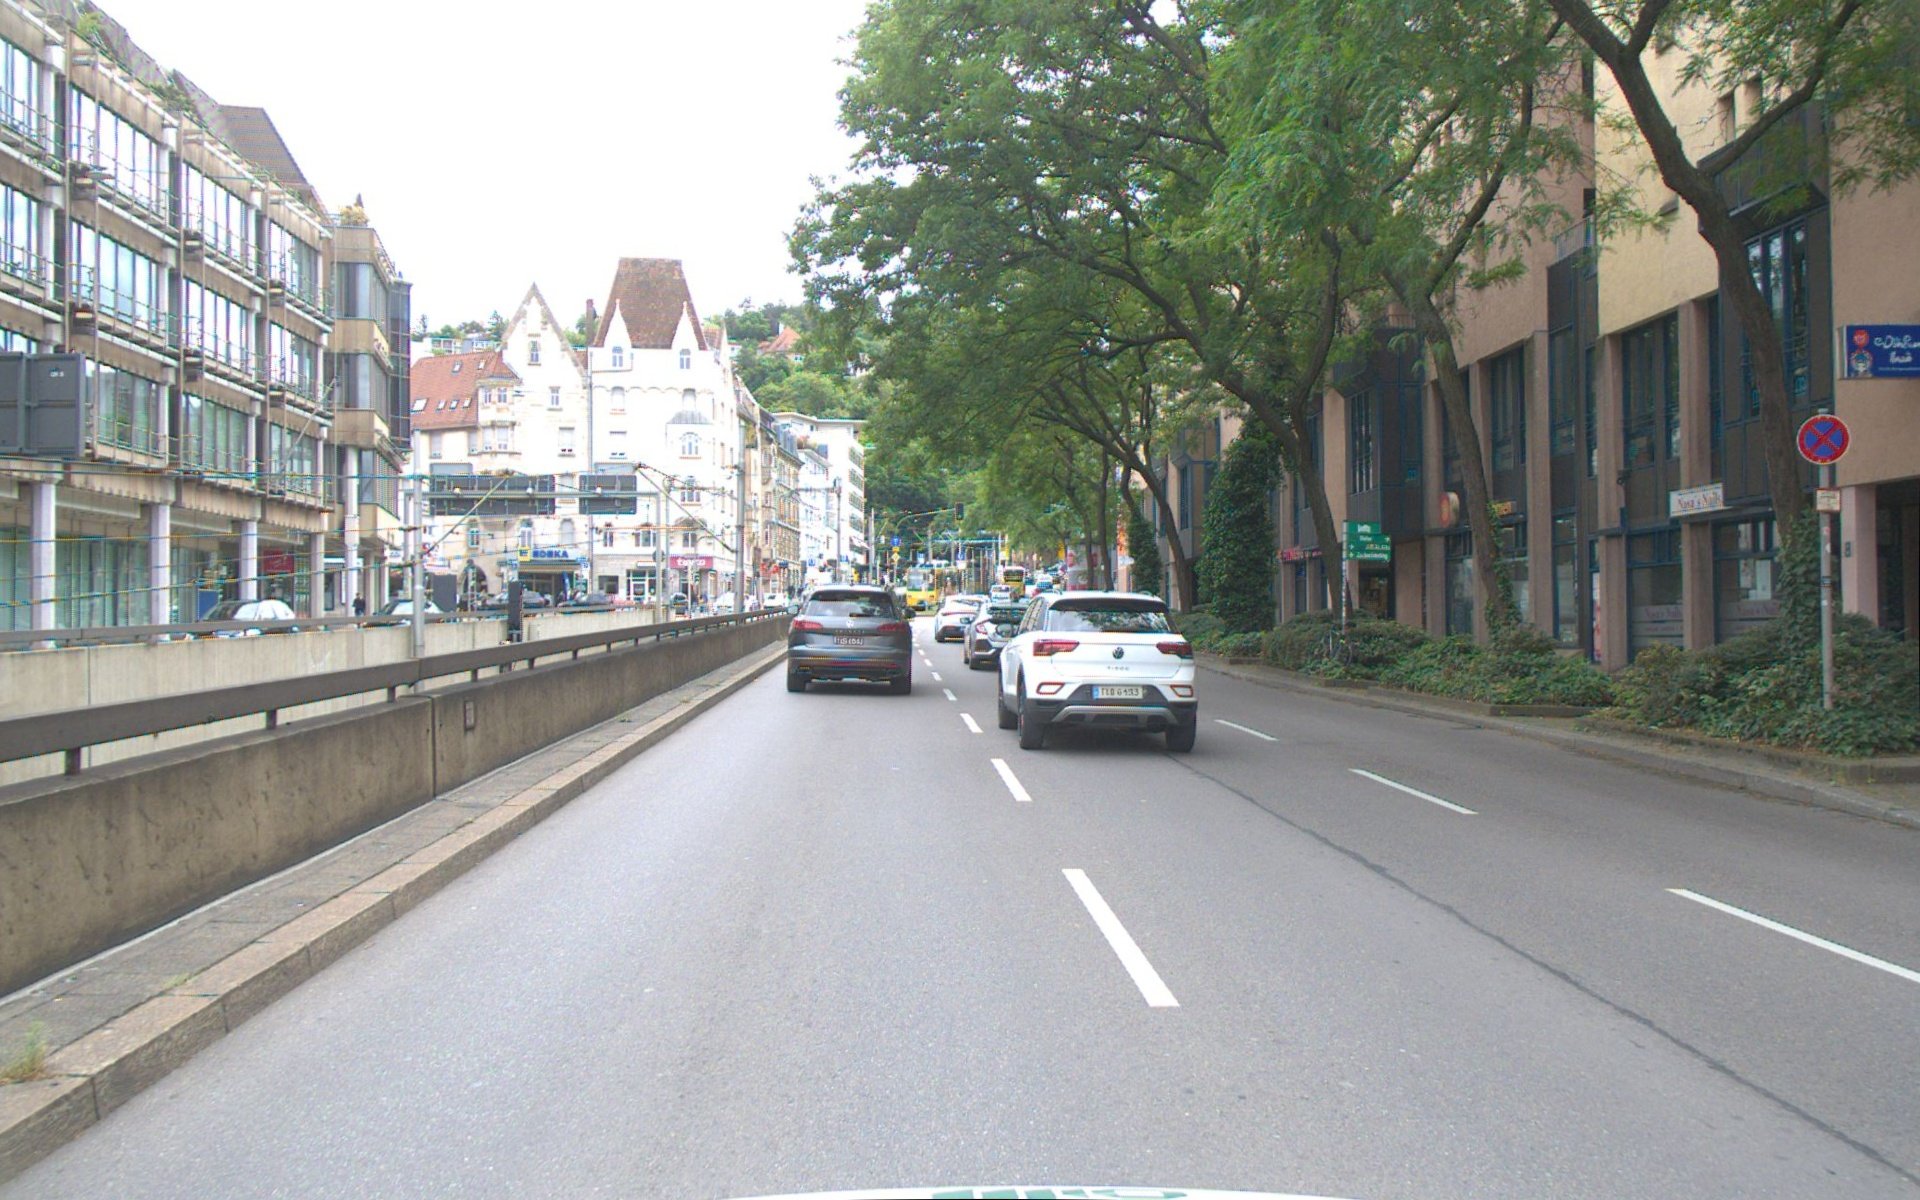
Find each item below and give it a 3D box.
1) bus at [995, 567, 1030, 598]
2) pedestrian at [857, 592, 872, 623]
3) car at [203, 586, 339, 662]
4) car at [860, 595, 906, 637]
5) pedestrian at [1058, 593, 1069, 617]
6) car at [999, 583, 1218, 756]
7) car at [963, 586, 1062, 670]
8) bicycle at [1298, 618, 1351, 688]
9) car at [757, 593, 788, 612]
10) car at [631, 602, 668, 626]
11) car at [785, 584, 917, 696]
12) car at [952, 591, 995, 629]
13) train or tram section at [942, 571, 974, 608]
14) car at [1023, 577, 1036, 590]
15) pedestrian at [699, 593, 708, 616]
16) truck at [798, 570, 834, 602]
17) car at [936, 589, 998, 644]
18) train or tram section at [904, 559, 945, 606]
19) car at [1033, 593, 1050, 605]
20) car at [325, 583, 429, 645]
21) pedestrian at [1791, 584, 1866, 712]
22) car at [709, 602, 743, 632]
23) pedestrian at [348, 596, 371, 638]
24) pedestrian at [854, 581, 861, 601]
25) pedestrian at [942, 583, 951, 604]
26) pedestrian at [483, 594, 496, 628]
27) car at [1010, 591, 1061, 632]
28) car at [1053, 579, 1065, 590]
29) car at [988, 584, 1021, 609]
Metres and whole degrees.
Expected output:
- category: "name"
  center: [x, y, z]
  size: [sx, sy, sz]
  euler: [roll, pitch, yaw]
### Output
- category: "bus"
  center: [5.722, -1.805, 177.820]
  size: [3.301, 3.118, 13.331]
  euler: [1, 0, 4]
- category: "pedestrian"
  center: [-5.504, 0.433, 95.211]
  size: [0.748, 1.751, 0.638]
  euler: [0, 0, 4]
- category: "car"
  center: [-18.679, 0.662, 45.063]
  size: [1.953, 1.948, 4.376]
  euler: [1, -1, -2]
- category: "car"
  center: [-3.236, 0.670, 69.891]
  size: [1.847, 1.713, 4.159]
  euler: [1, 0, -2]
- category: "pedestrian"
  center: [8.043, 0.360, 128.598]
  size: [0.679, 1.808, 0.689]
  euler: [-4, 0, 0]
- category: "car"
  center: [1.455, 0.666, 17.718]
  size: [1.800, 1.611, 4.155]
  euler: [1, 0, -2]
- category: "car"
  center: [1.098, 0.595, 36.342]
  size: [1.847, 1.713, 4.159]
  euler: [1, 0, -2]
- category: "bicycle"
  center: [6.599, 0.939, 29.982]
  size: [0.355, 1.222, 1.566]
  euler: [0, 0, -10]
- category: "car"
  center: [-16.180, 0.248, 143.204]
  size: [1.712, 1.588, 4.517]
  euler: [1, 0, 6]
- category: "car"
  center: [-20.884, 0.944, 111.357]
  size: [1.630, 1.527, 4.413]
  euler: [0, 0, 0]
- category: "car"
  center: [-1.738, 0.596, 26.515]
  size: [1.954, 1.664, 3.997]
  euler: [0, 0, -4]
- category: "car"
  center: [0.730, 0.569, 93.050]
  size: [2.316, 2.049, 5.147]
  euler: [1, 0, -1]
- category: "train or tram section"
  center: [-0.212, -1.089, 172.784]
  size: [2.754, 3.730, 6.755]
  euler: [1, 1, 5]
- category: "car"
  center: [9.689, -2.287, 229.742]
  size: [1.638, 1.588, 3.680]
  euler: [1, 0, 4]
- category: "pedestrian"
  center: [-19.896, 0.355, 128.233]
  size: [0.499, 1.811, 0.577]
  euler: [0, 0, 18]
- category: "truck"
  center: [-14.520, -1.379, 167.626]
  size: [2.218, 3.130, 7.379]
  euler: [1, 0, 6]
- category: "car"
  center: [0.196, 0.519, 54.590]
  size: [1.847, 1.713, 4.159]
  euler: [1, 0, -2]
- category: "train or tram section"
  center: [-2.891, -1.452, 137.472]
  size: [2.775, 3.743, 5.755]
  euler: [1, 1, 5]
- category: "car"
  center: [7.991, -0.091, 161.516]
  size: [1.549, 1.193, 3.680]
  euler: [1, 0, 4]
- category: "car"
  center: [-19.750, 0.445, 56.252]
  size: [1.953, 1.997, 4.788]
  euler: [-1, 0, -2]
- category: "pedestrian"
  center: [11.992, 0.647, 22.855]
  size: [0.694, 1.741, 0.688]
  euler: [0, 1, 4]
- category: "car"
  center: [-15.535, 1.111, 109.979]
  size: [1.798, 1.874, 4.600]
  euler: [3, 0, -5]
- category: "pedestrian"
  center: [-26.534, 0.737, 73.095]
  size: [0.715, 1.843, 0.739]
  euler: [1, -1, -1]
- category: "pedestrian"
  center: [-8.951, -0.748, 144.278]
  size: [0.623, 1.741, 0.689]
  euler: [0, 1, -5]
- category: "pedestrian"
  center: [-1.082, -0.514, 134.622]
  size: [0.671, 1.741, 0.712]
  euler: [0, 1, 4]
- category: "pedestrian"
  center: [-25.219, 0.581, 88.704]
  size: [0.499, 1.811, 0.577]
  euler: [0, 0, 6]
- category: "car"
  center: [3.891, 0.587, 85.687]
  size: [2.316, 2.049, 5.147]
  euler: [1, 0, -1]
- category: "car"
  center: [14.020, -2.190, 235.008]
  size: [1.638, 1.588, 3.680]
  euler: [1, 0, 4]
- category: "car"
  center: [3.848, -0.298, 142.074]
  size: [2.314, 2.049, 5.152]
  euler: [1, 0, 7]
